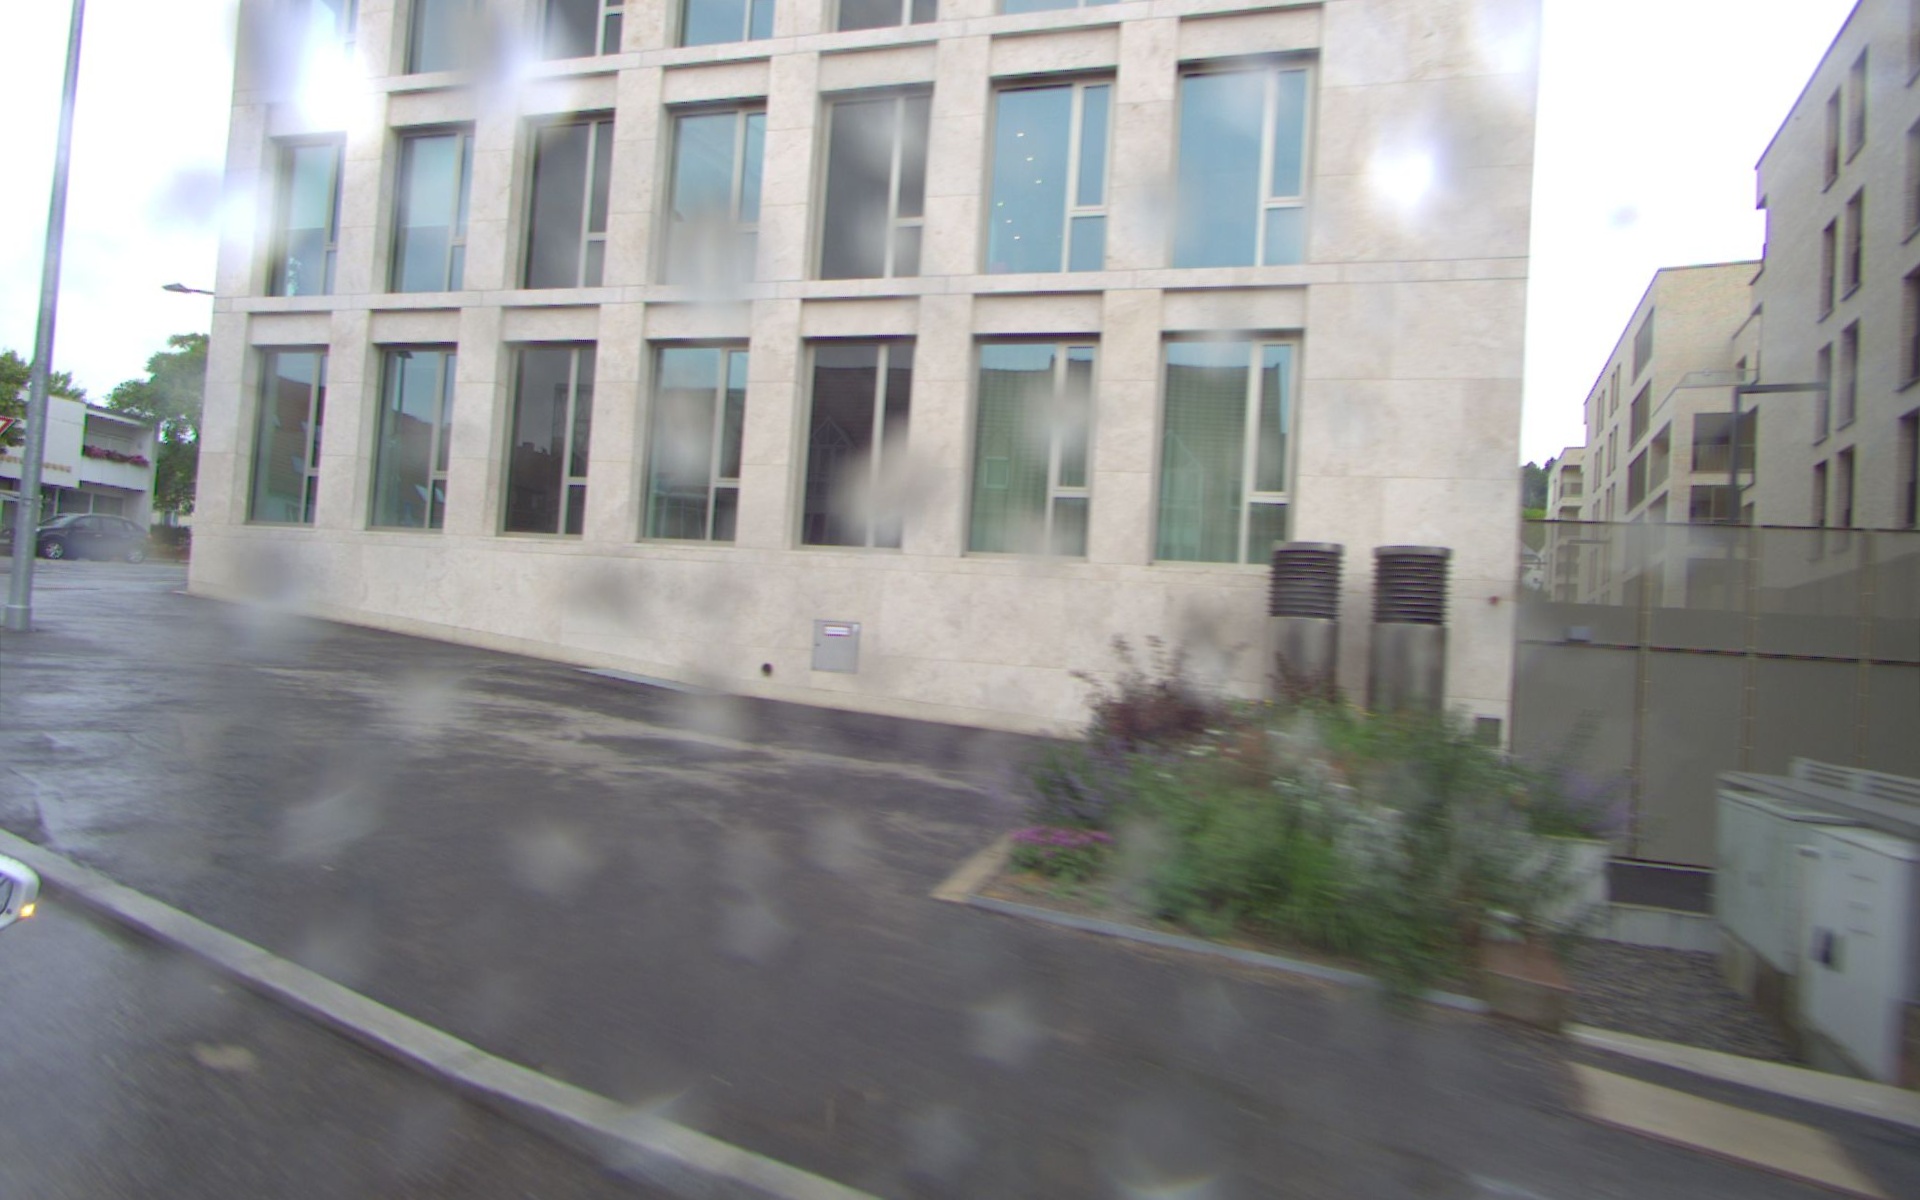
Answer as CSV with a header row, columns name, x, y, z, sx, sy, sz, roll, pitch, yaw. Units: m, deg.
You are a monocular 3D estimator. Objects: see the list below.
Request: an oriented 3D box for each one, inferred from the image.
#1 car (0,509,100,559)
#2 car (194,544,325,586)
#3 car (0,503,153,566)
name,x,y,z,sx,sy,sz,roll,pitch,yaw
car,-34.171,-2.418,36.541,1.745,1.538,4.186,2,-1,14
car,-29.625,-1.444,42.745,1.745,1.470,4.540,2,-1,14
car,-31.401,-2.256,35.522,1.745,1.838,4.316,2,-1,14
